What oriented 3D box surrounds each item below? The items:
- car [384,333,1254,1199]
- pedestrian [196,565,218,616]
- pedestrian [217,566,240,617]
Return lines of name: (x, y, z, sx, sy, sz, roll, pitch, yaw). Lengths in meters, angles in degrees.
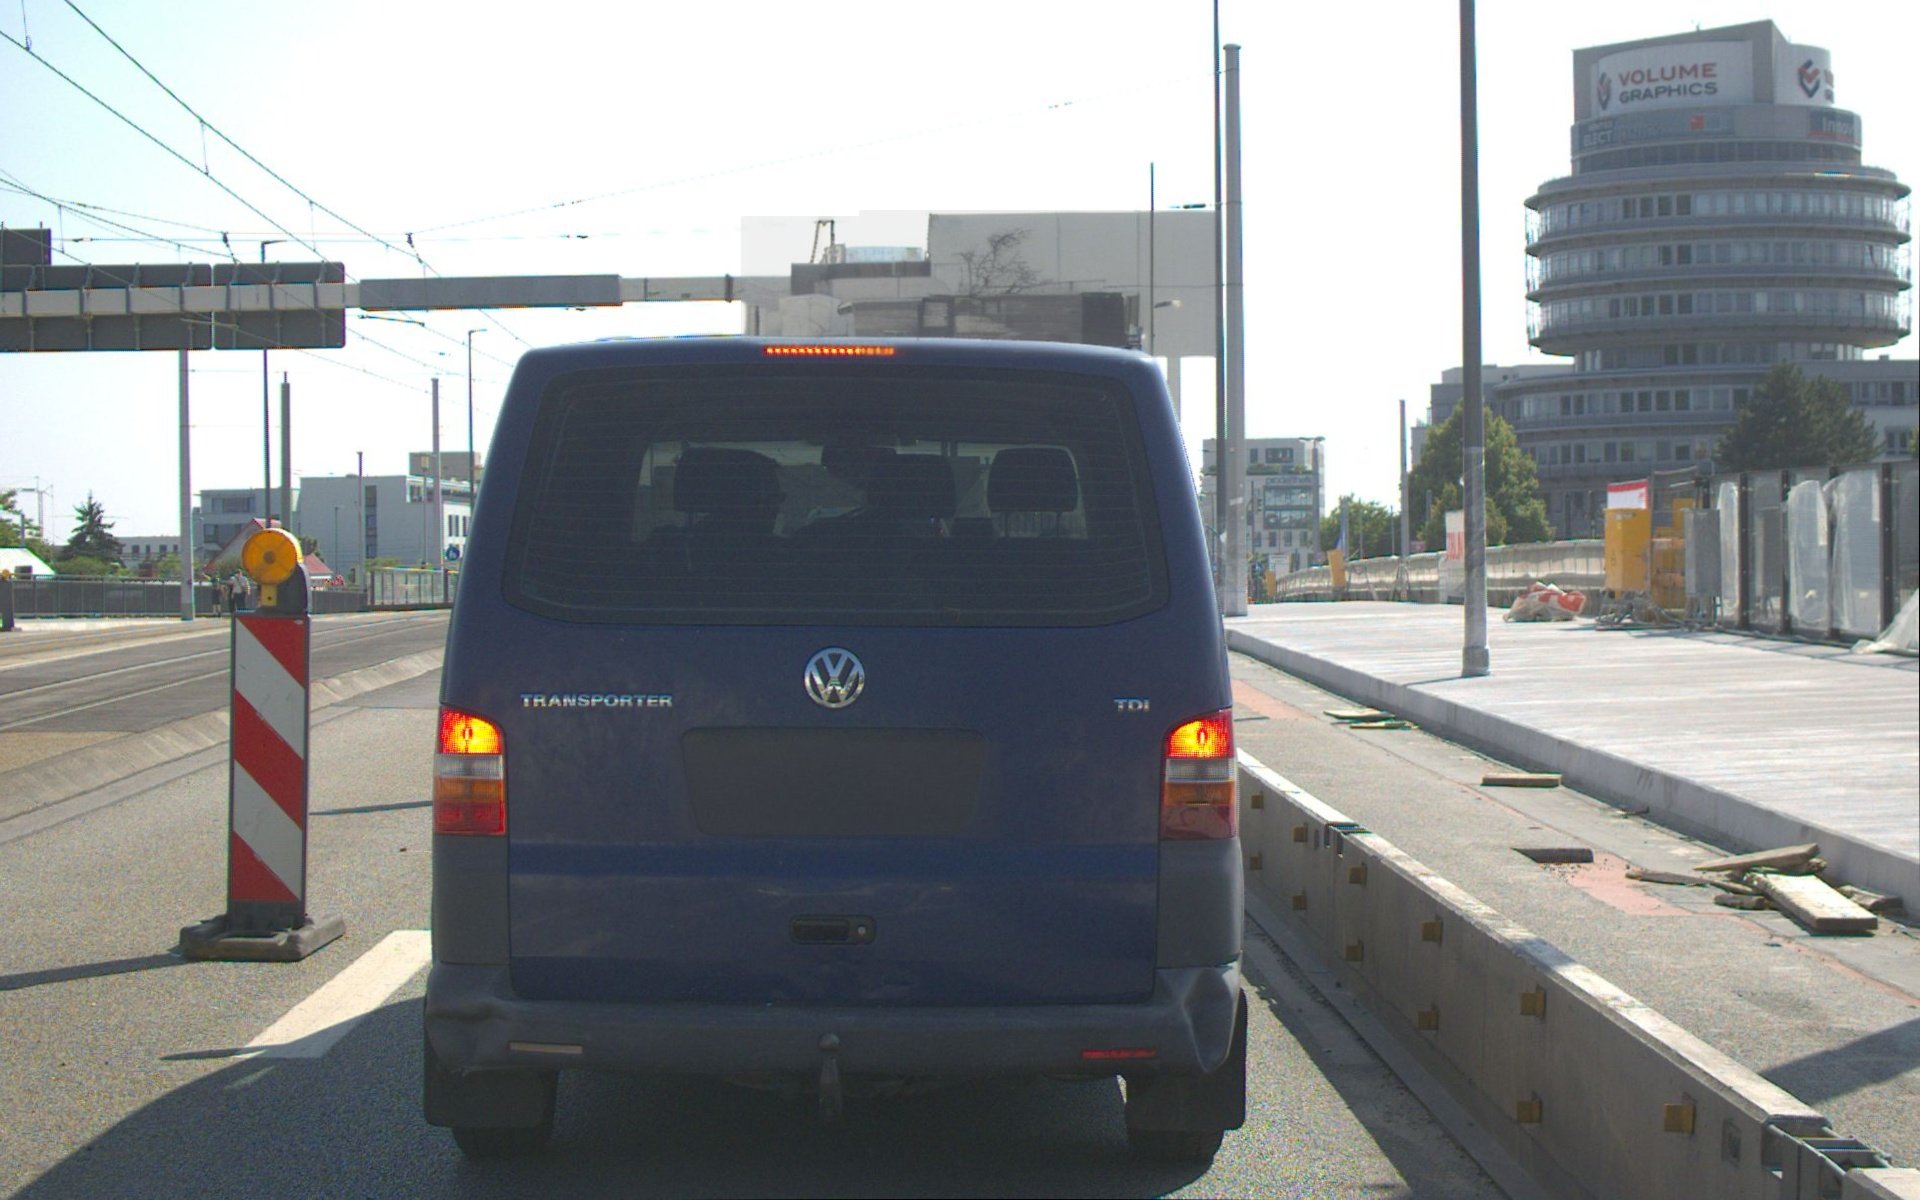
car: (-0.289, 0.359, 9.233, 1.815, 1.899, 4.054, 0, 1, 0)
pedestrian: (-26.373, -0.338, 120.447, 0.634, 1.746, 0.752, 0, 1, -1)
pedestrian: (-25.640, -0.290, 120.532, 0.634, 1.768, 0.752, 0, 1, -1)
